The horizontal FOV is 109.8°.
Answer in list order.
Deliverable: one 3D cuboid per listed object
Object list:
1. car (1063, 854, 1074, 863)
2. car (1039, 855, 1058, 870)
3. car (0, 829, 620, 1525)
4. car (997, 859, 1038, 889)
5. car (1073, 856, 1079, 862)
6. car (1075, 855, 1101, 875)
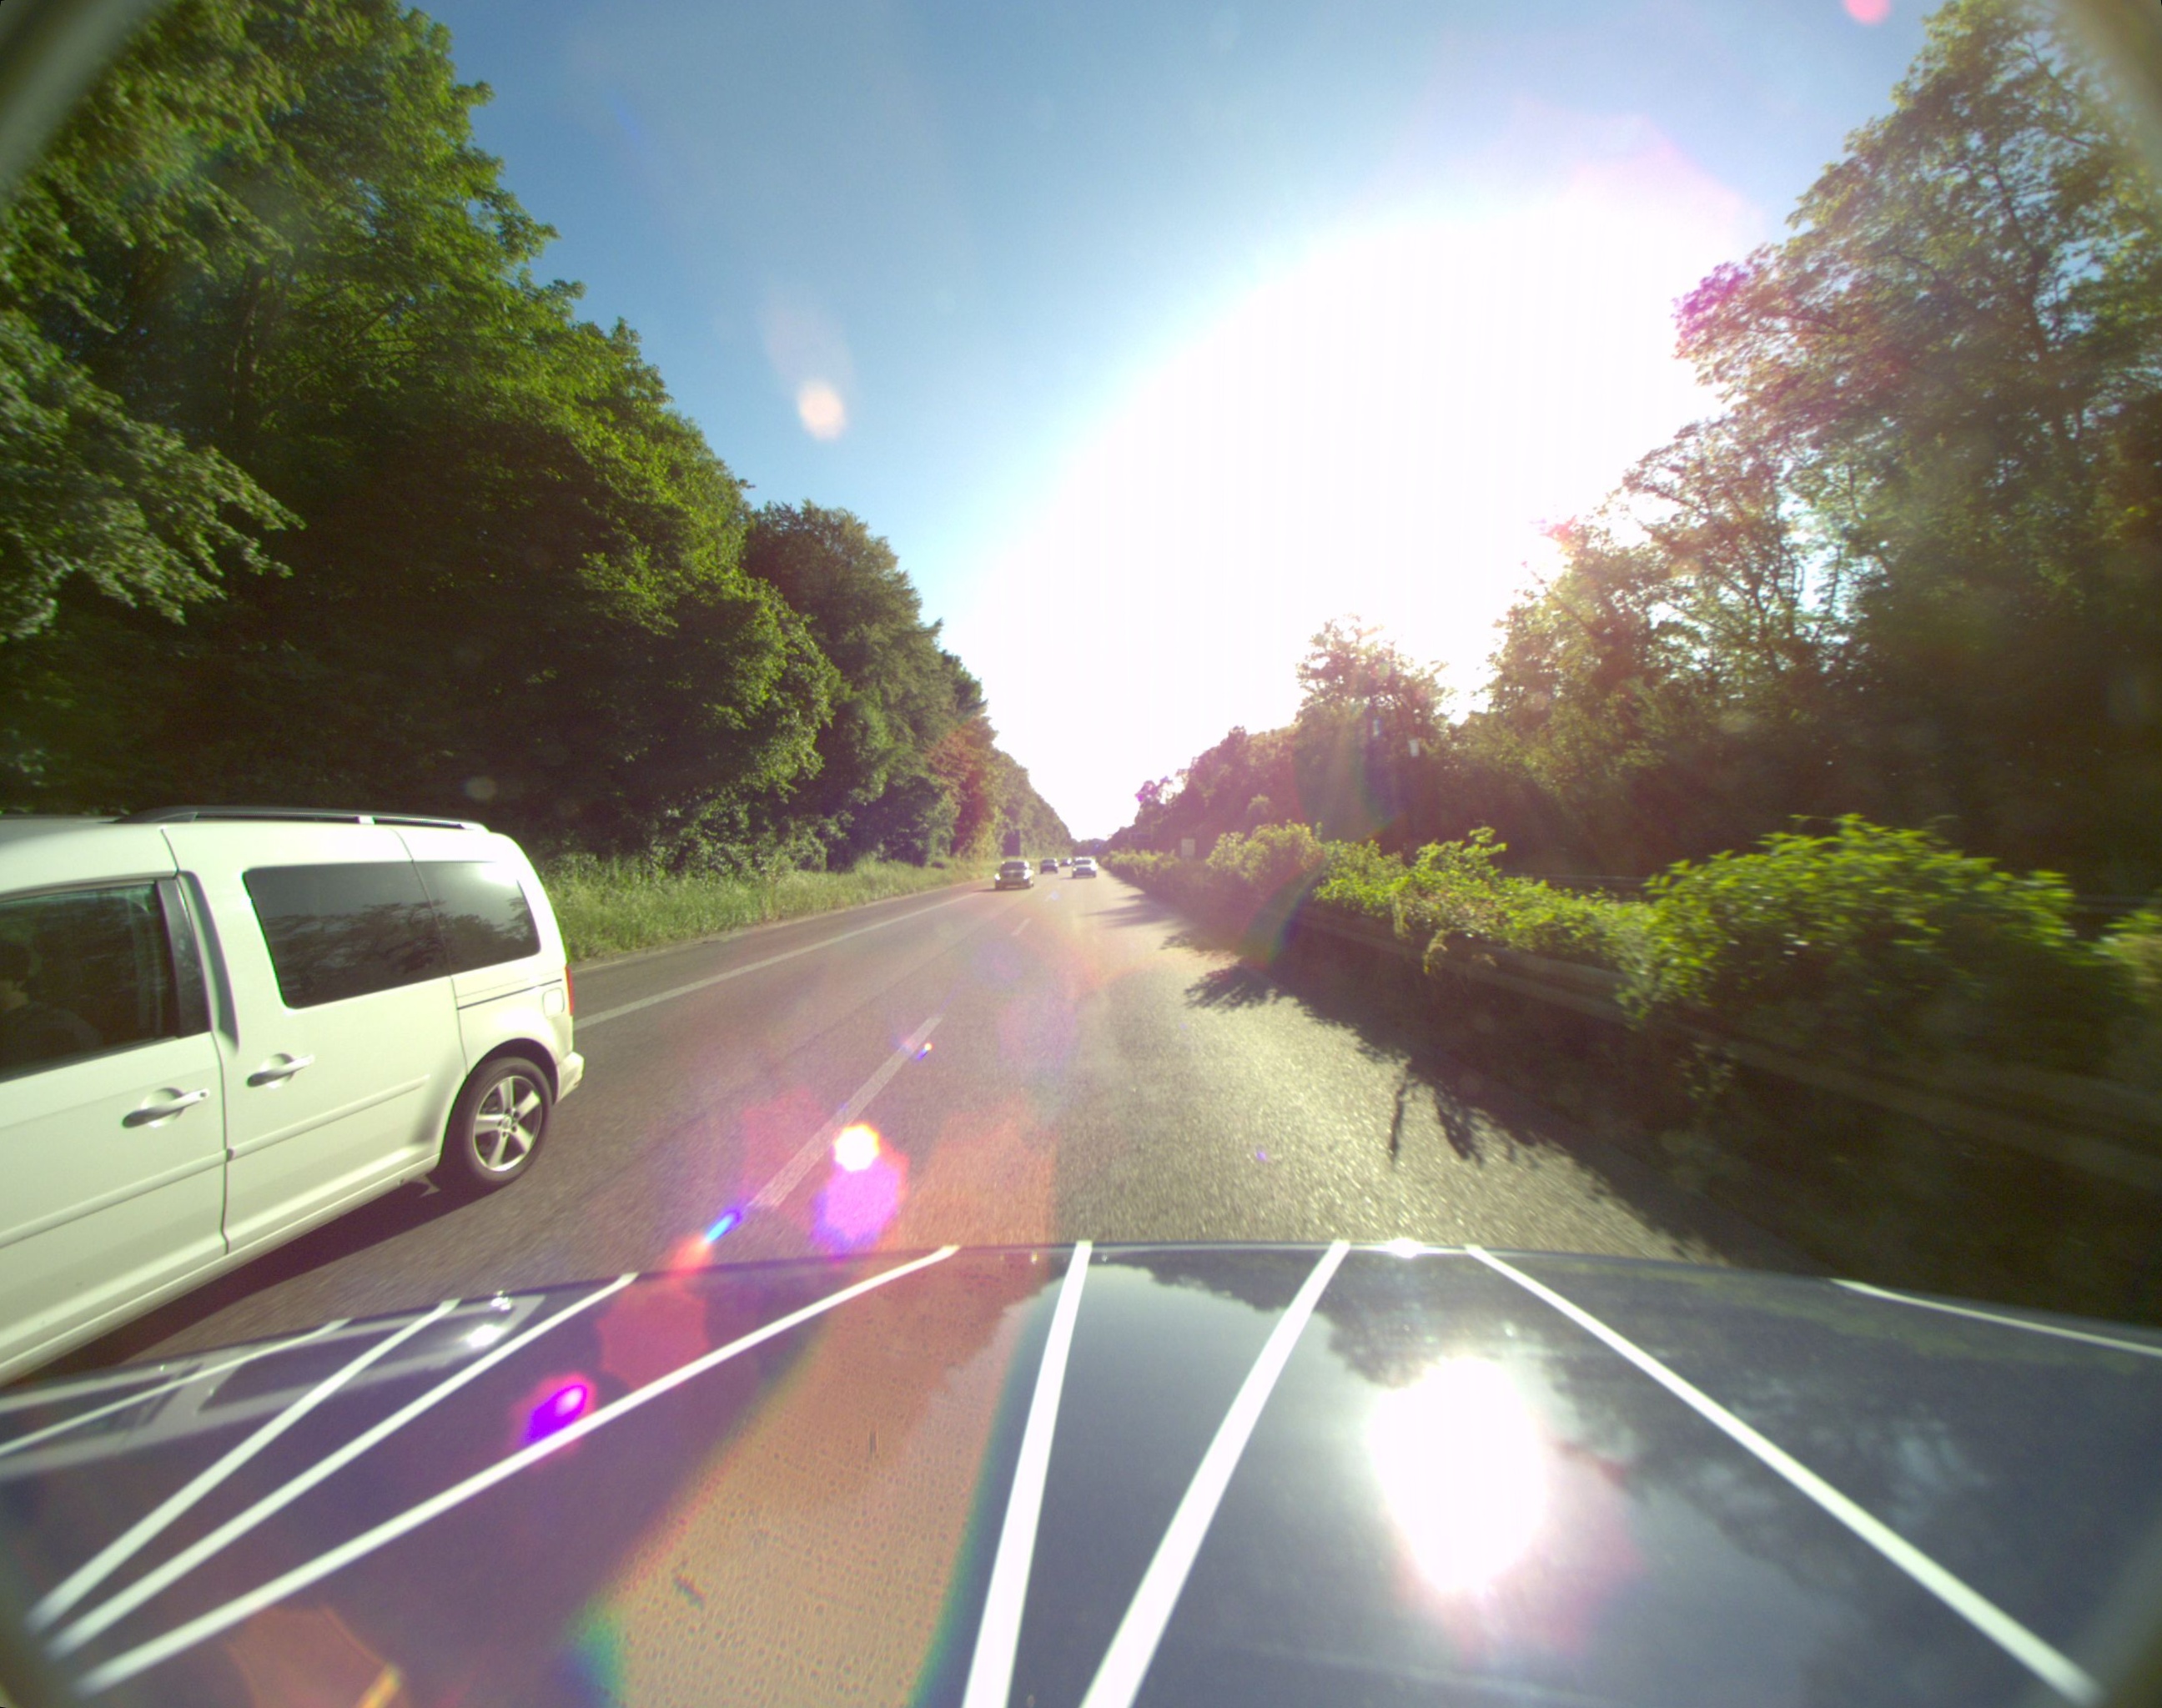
[{"bbox_3d":[-2.177,0.760,130.178,1.795,1.440,3.877,-2,0,0],"label":"car"},{"bbox_3d":[-3.326,0.895,77.770,1.795,1.440,3.877,-2,0,0],"label":"car"},{"bbox_3d":[-3.730,0.865,2.282,1.803,1.802,4.587,-2,1,0],"label":"car"},{"bbox_3d":[-3.322,1.002,40.301,1.795,1.440,3.877,-2,0,0],"label":"car"},{"bbox_3d":[-1.361,1.329,207.664,1.795,1.440,3.877,-2,0,0],"label":"car"},{"bbox_3d":[0.522,0.820,57.991,1.890,1.440,3.878,-2,0,1],"label":"car"}]
